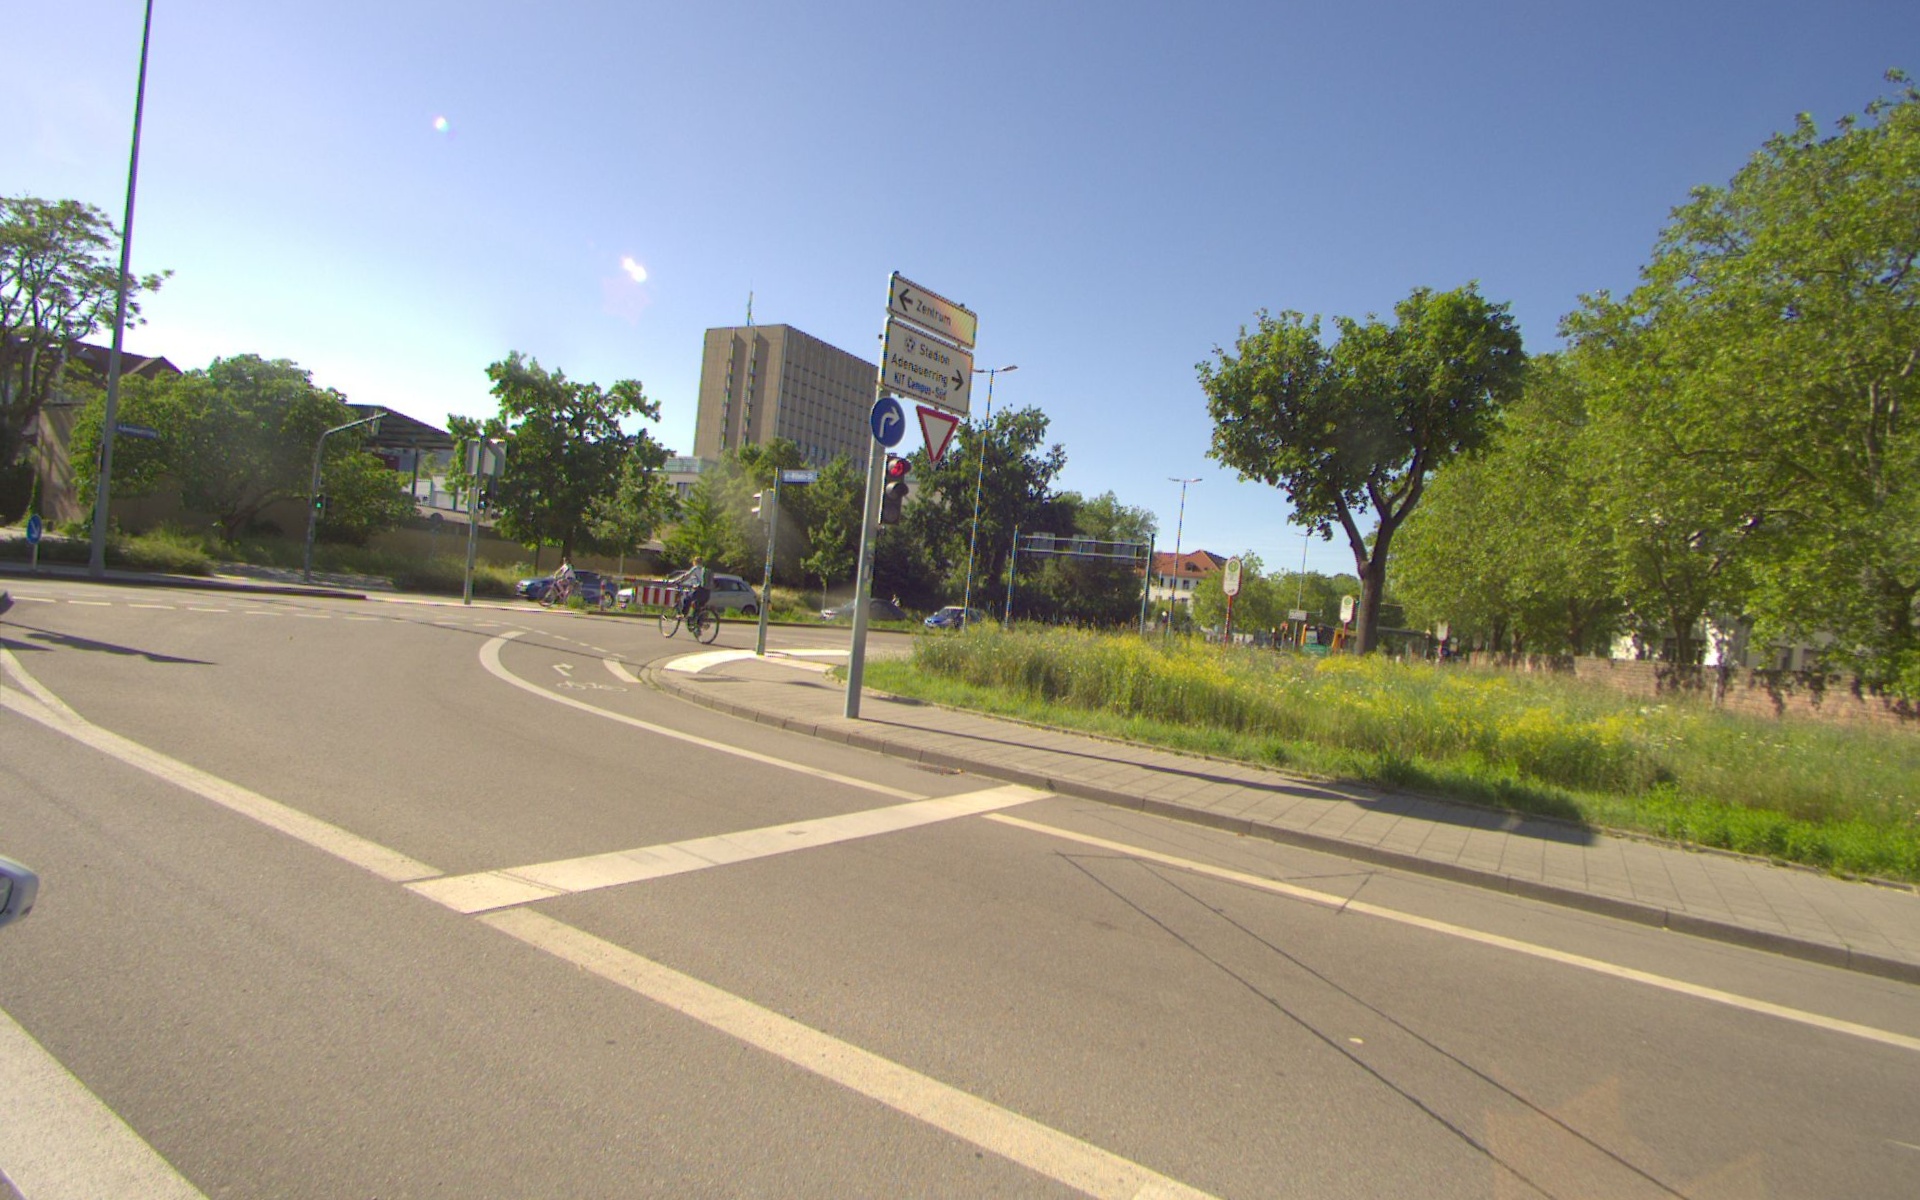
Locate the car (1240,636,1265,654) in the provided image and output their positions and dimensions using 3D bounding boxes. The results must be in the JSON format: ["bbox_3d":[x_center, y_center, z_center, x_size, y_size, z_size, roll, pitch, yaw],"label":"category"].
[{"bbox_3d":[33.317,5.143,114.510,1.905,1.821,4.356,5,-1,26],"label":"car"}]

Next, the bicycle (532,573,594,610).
[{"bbox_3d":[-13.938,-0.289,35.345,0.736,1.180,1.864,7,2,33],"label":"bicycle"}]

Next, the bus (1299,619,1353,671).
[{"bbox_3d":[27.598,3.442,75.706,2.935,3.310,6.255,7,-2,26],"label":"bus"}]

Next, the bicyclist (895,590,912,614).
[{"bbox_3d":[-4.024,0.159,71.492,0.621,1.617,0.830,9,4,31],"label":"bicyclist"}]

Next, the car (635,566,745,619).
[{"bbox_3d":[-12.516,-0.330,46.957,1.909,1.976,4.742,5,-1,35],"label":"car"}]

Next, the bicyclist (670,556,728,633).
[{"bbox_3d":[-5.289,-0.109,20.365,0.763,1.463,0.642,8,3,30],"label":"bicyclist"}]

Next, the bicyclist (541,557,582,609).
[{"bbox_3d":[-13.962,-0.583,35.254,0.734,1.707,0.974,7,2,34],"label":"bicyclist"}]

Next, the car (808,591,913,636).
[{"bbox_3d":[-4.343,0.640,44.584,1.953,1.573,4.709,5,-1,35],"label":"car"}]

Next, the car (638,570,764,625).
[{"bbox_3d":[-9.536,-0.056,37.340,1.762,1.644,4.303,5,-1,35],"label":"car"}]

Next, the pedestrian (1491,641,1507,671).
[{"bbox_3d":[30.759,3.201,57.446,0.642,1.630,0.558,7,-1,30],"label":"pedestrian"}]

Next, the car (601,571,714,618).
[{"bbox_3d":[-12.520,-0.202,41.741,1.971,1.487,3.982,6,0,40],"label":"car"}]

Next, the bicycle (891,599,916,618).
[{"bbox_3d":[-3.991,0.599,71.668,0.632,1.180,1.951,9,3,32],"label":"bicycle"}]

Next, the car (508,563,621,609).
[{"bbox_3d":[-16.188,-0.553,41.337,1.679,1.459,3.988,5,-1,35],"label":"car"}]

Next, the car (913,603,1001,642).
[{"bbox_3d":[-0.085,1.182,50.739,1.953,1.573,4.709,5,-1,35],"label":"car"}]

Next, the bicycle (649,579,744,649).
[{"bbox_3d":[-5.342,0.281,20.387,1.838,1.180,0.641,8,2,30],"label":"bicycle"}]
